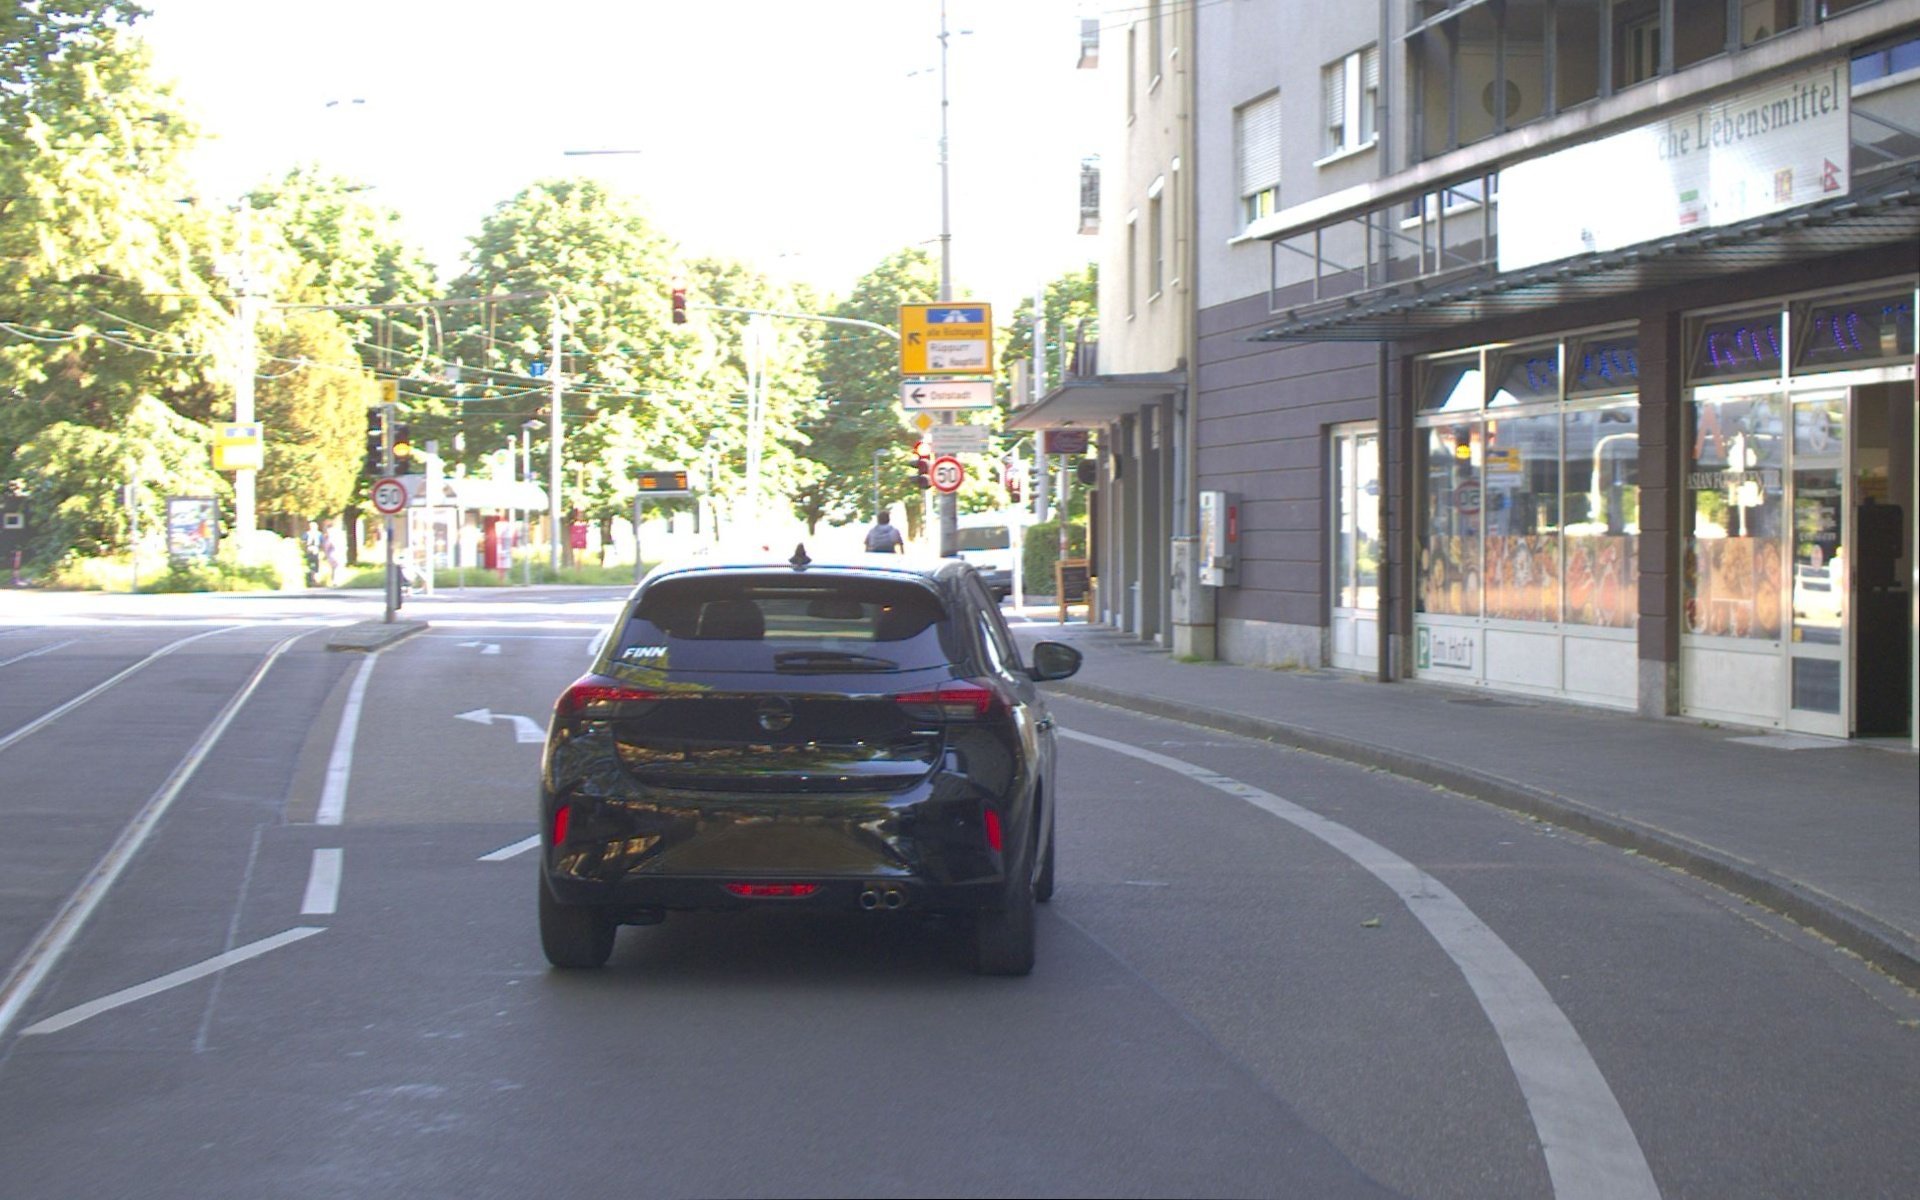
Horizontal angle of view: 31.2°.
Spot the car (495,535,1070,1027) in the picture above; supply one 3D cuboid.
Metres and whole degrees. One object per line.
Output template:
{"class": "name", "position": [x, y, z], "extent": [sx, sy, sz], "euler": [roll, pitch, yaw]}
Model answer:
{"class": "car", "position": [-0.522, 0.528, 12.731], "extent": [1.781, 1.491, 4.000], "euler": [1, 1, 1]}

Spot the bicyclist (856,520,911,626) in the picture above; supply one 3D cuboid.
{"class": "bicyclist", "position": [-1.041, -0.377, 46.822], "extent": [0.706, 1.430, 0.702], "euler": [0, 1, 3]}

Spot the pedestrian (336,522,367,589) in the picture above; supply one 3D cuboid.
{"class": "pedestrian", "position": [-16.856, -1.230, 95.249], "extent": [0.617, 1.847, 0.583], "euler": [1, 1, 15]}

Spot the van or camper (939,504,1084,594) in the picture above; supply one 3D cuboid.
{"class": "van or camper", "position": [1.316, -1.249, 85.346], "extent": [2.170, 2.138, 4.501], "euler": [1, 1, 21]}

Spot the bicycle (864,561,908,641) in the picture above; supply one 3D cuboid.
{"class": "bicycle", "position": [-1.004, 0.002, 46.900], "extent": [0.508, 1.063, 1.564], "euler": [0, 1, 3]}

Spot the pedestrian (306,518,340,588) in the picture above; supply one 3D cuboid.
{"class": "pedestrian", "position": [-17.669, -1.293, 95.361], "extent": [0.658, 1.926, 0.608], "euler": [1, 1, 22]}

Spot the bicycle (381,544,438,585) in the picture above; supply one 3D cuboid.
{"class": "bicycle", "position": [-13.497, -0.881, 84.354], "extent": [0.788, 0.988, 2.243], "euler": [1, 1, 7]}

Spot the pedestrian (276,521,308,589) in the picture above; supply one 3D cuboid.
{"class": "pedestrian", "position": [-18.329, -1.242, 94.343], "extent": [0.617, 1.847, 0.583], "euler": [1, 1, 16]}
